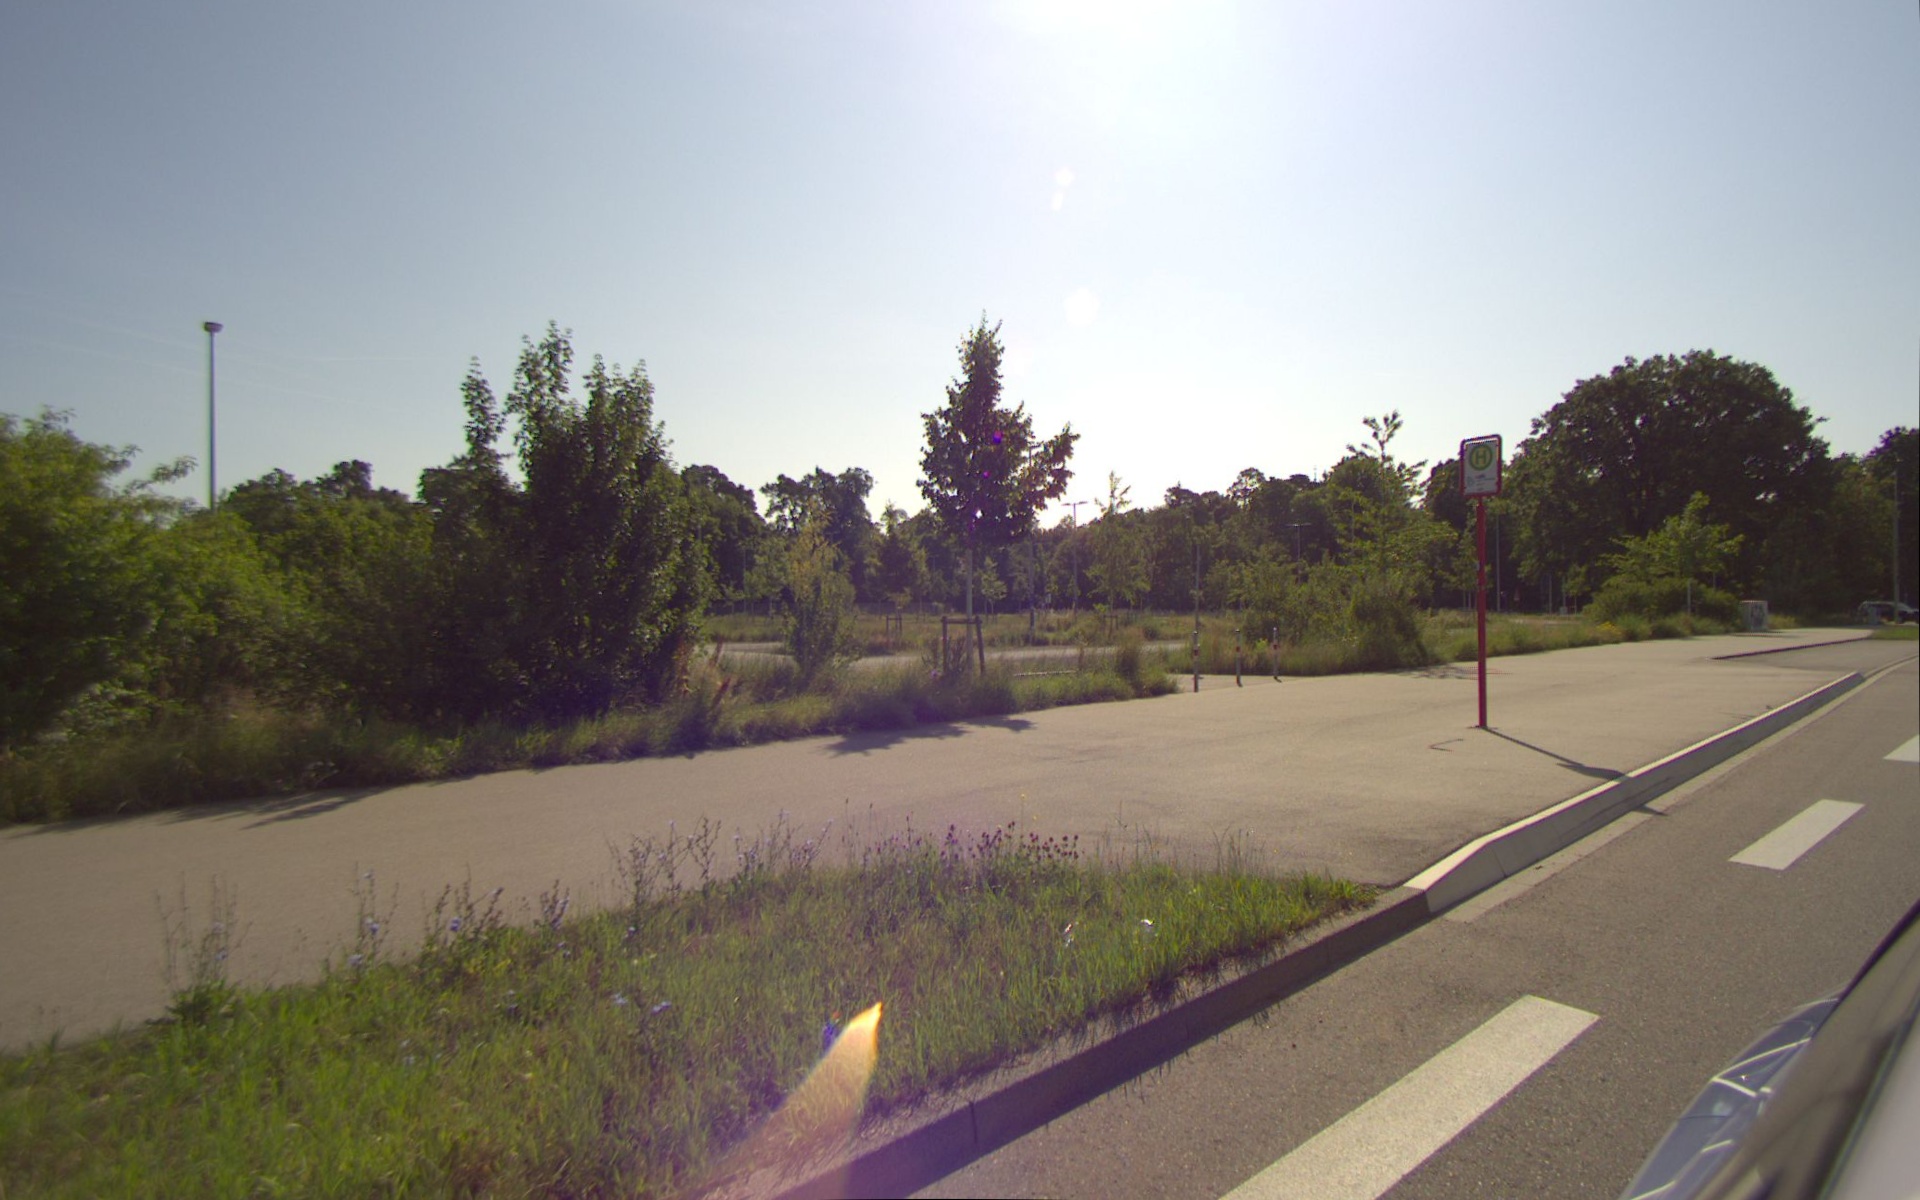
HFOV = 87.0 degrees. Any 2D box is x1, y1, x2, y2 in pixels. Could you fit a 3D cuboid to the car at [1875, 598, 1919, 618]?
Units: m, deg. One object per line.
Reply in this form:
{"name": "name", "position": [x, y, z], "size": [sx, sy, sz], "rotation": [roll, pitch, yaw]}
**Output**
{"name": "car", "position": [71.649, 0.585, 76.177], "size": [1.810, 1.503, 4.002], "rotation": [0, 0, -3]}
